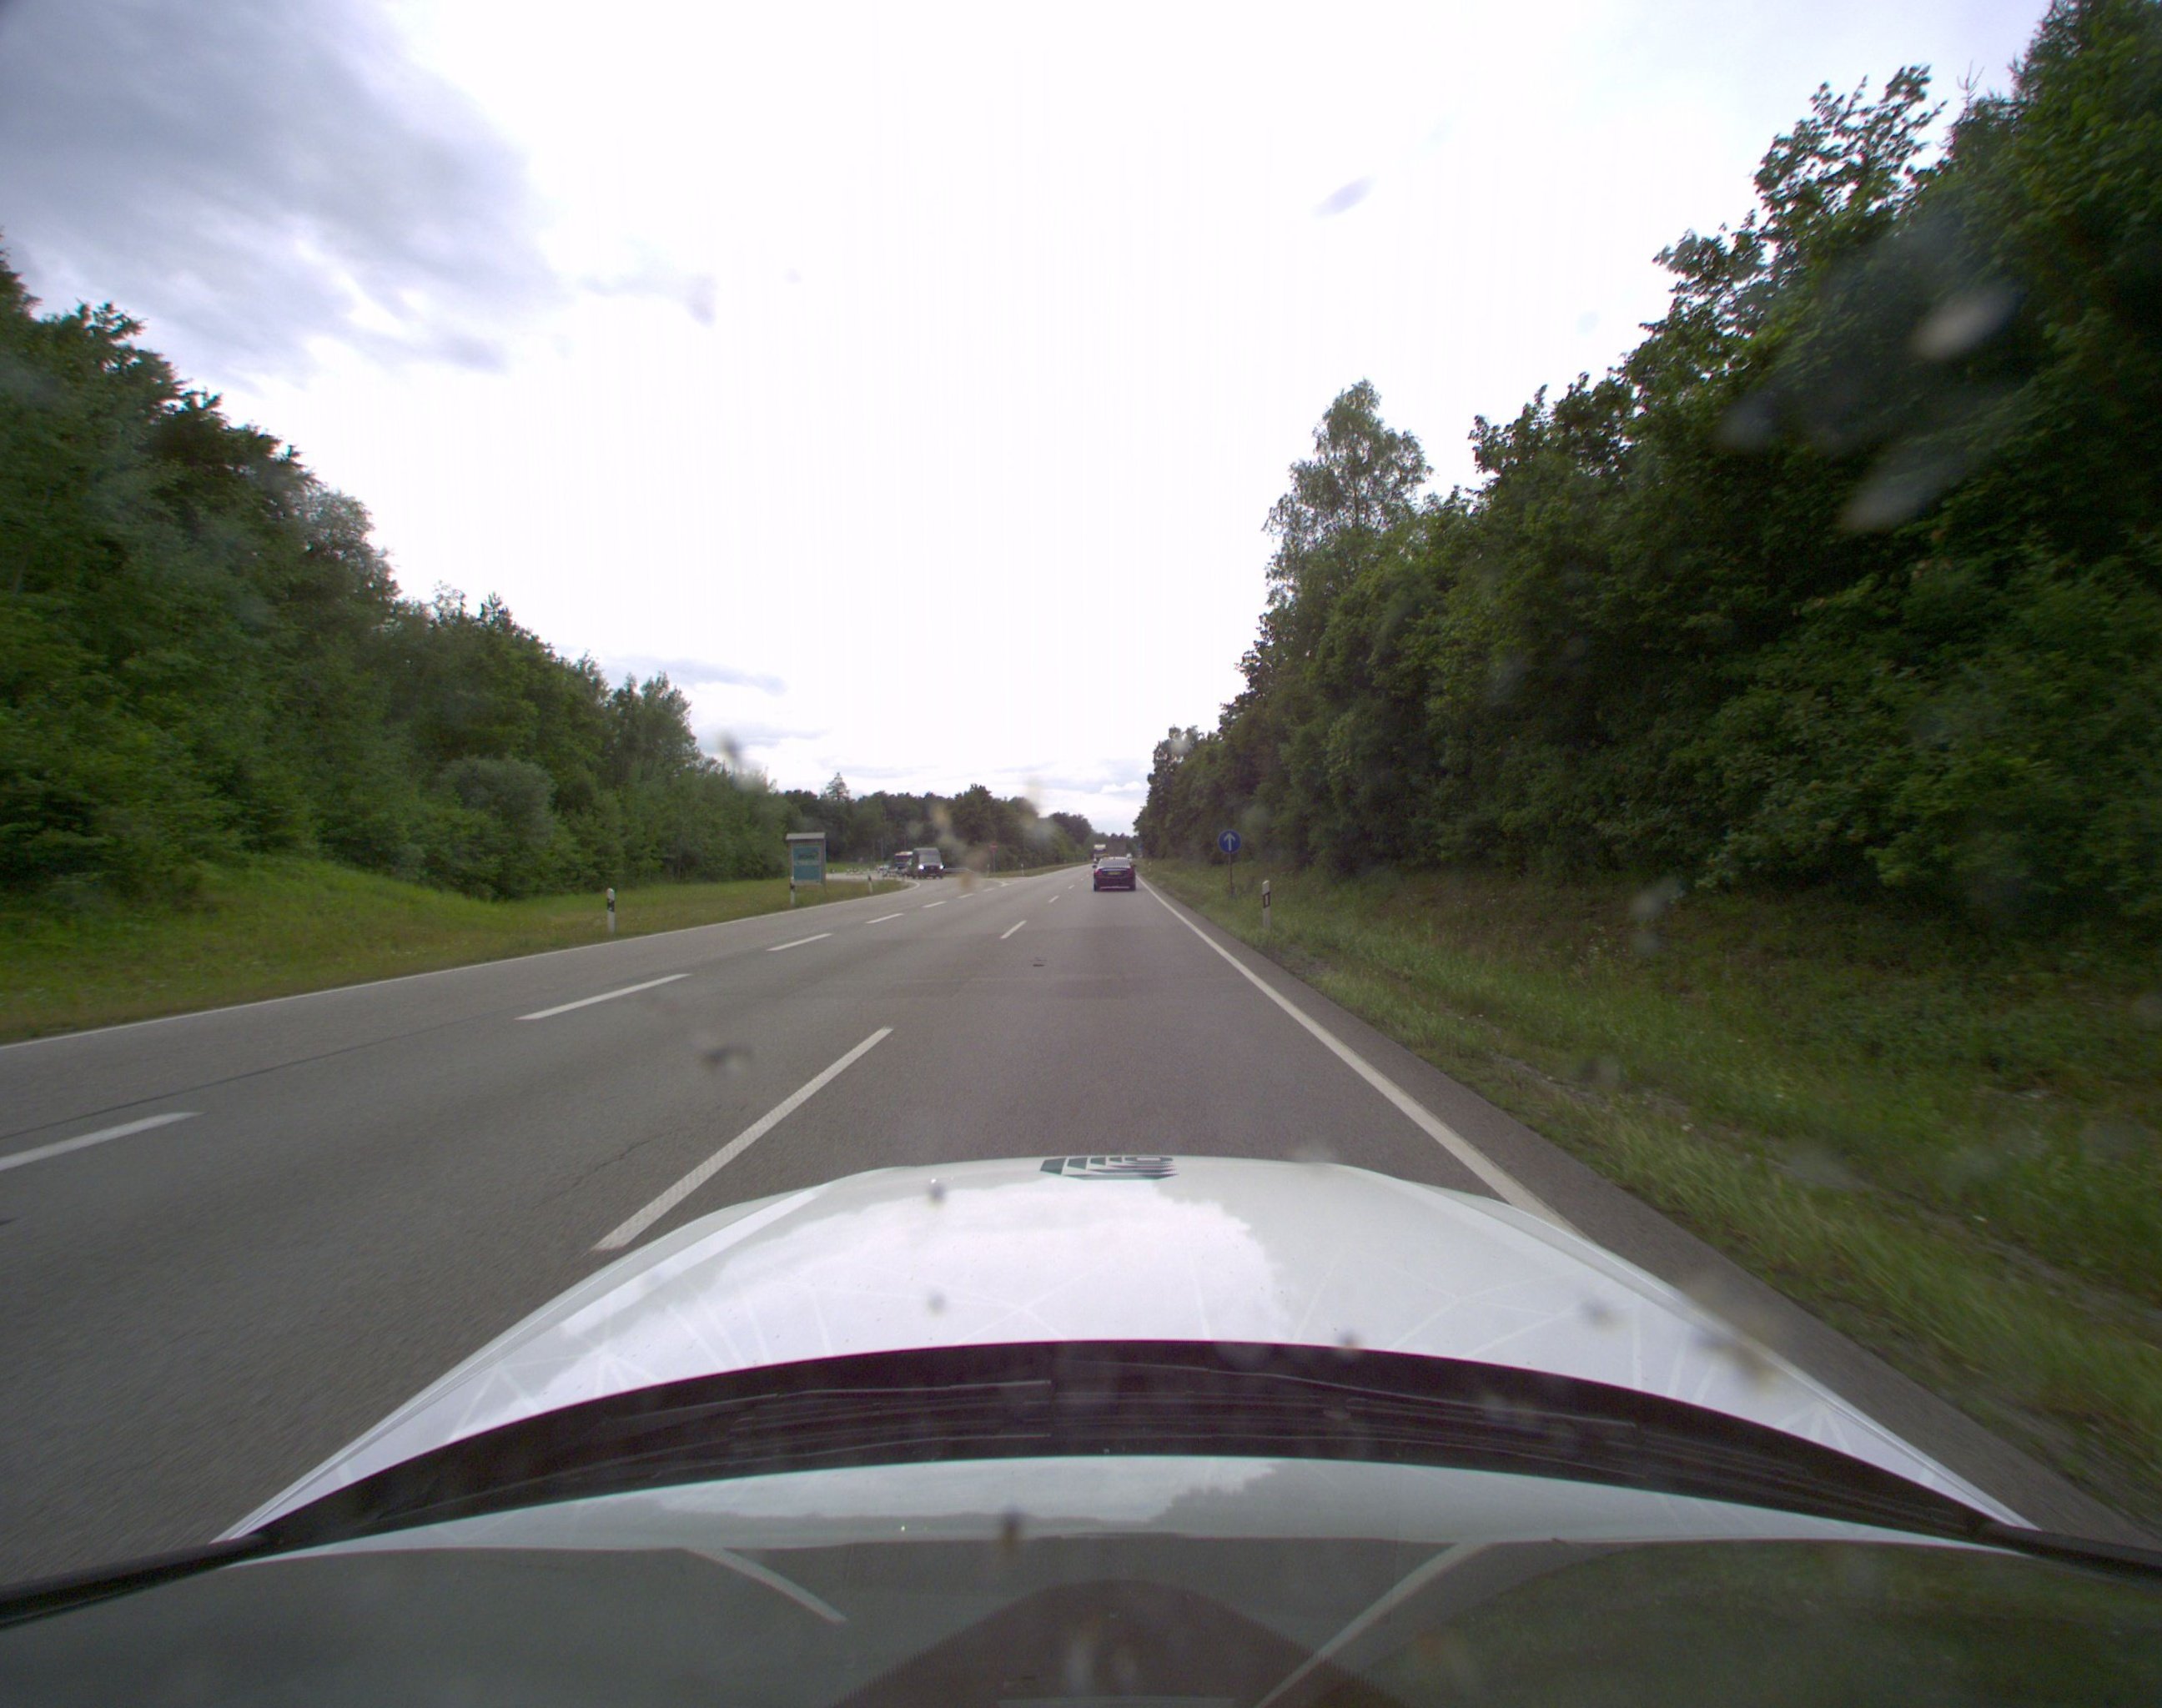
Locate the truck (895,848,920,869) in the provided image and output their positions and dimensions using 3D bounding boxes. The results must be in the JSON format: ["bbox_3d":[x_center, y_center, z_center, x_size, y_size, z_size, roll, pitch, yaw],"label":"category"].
[{"bbox_3d":[-25.786,0.691,121.404,1.986,3.012,7.230,-1,-1,2],"label":"truck"}]

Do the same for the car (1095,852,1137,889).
[{"bbox_3d":[1.538,0.722,36.550,1.785,1.552,4.001,-1,-1,1],"label":"car"}]

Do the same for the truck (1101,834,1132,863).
[{"bbox_3d":[4.725,-0.652,106.215,3.265,3.611,11.417,-1,0,6],"label":"truck"}]

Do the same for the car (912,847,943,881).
[{"bbox_3d":[-12.756,0.840,68.112,2.256,2.529,7.140,-4,0,-9],"label":"car"}]

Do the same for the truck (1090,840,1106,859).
[{"bbox_3d":[3.733,-0.991,178.135,3.177,4.062,9.582,-1,-1,3],"label":"truck"}]
